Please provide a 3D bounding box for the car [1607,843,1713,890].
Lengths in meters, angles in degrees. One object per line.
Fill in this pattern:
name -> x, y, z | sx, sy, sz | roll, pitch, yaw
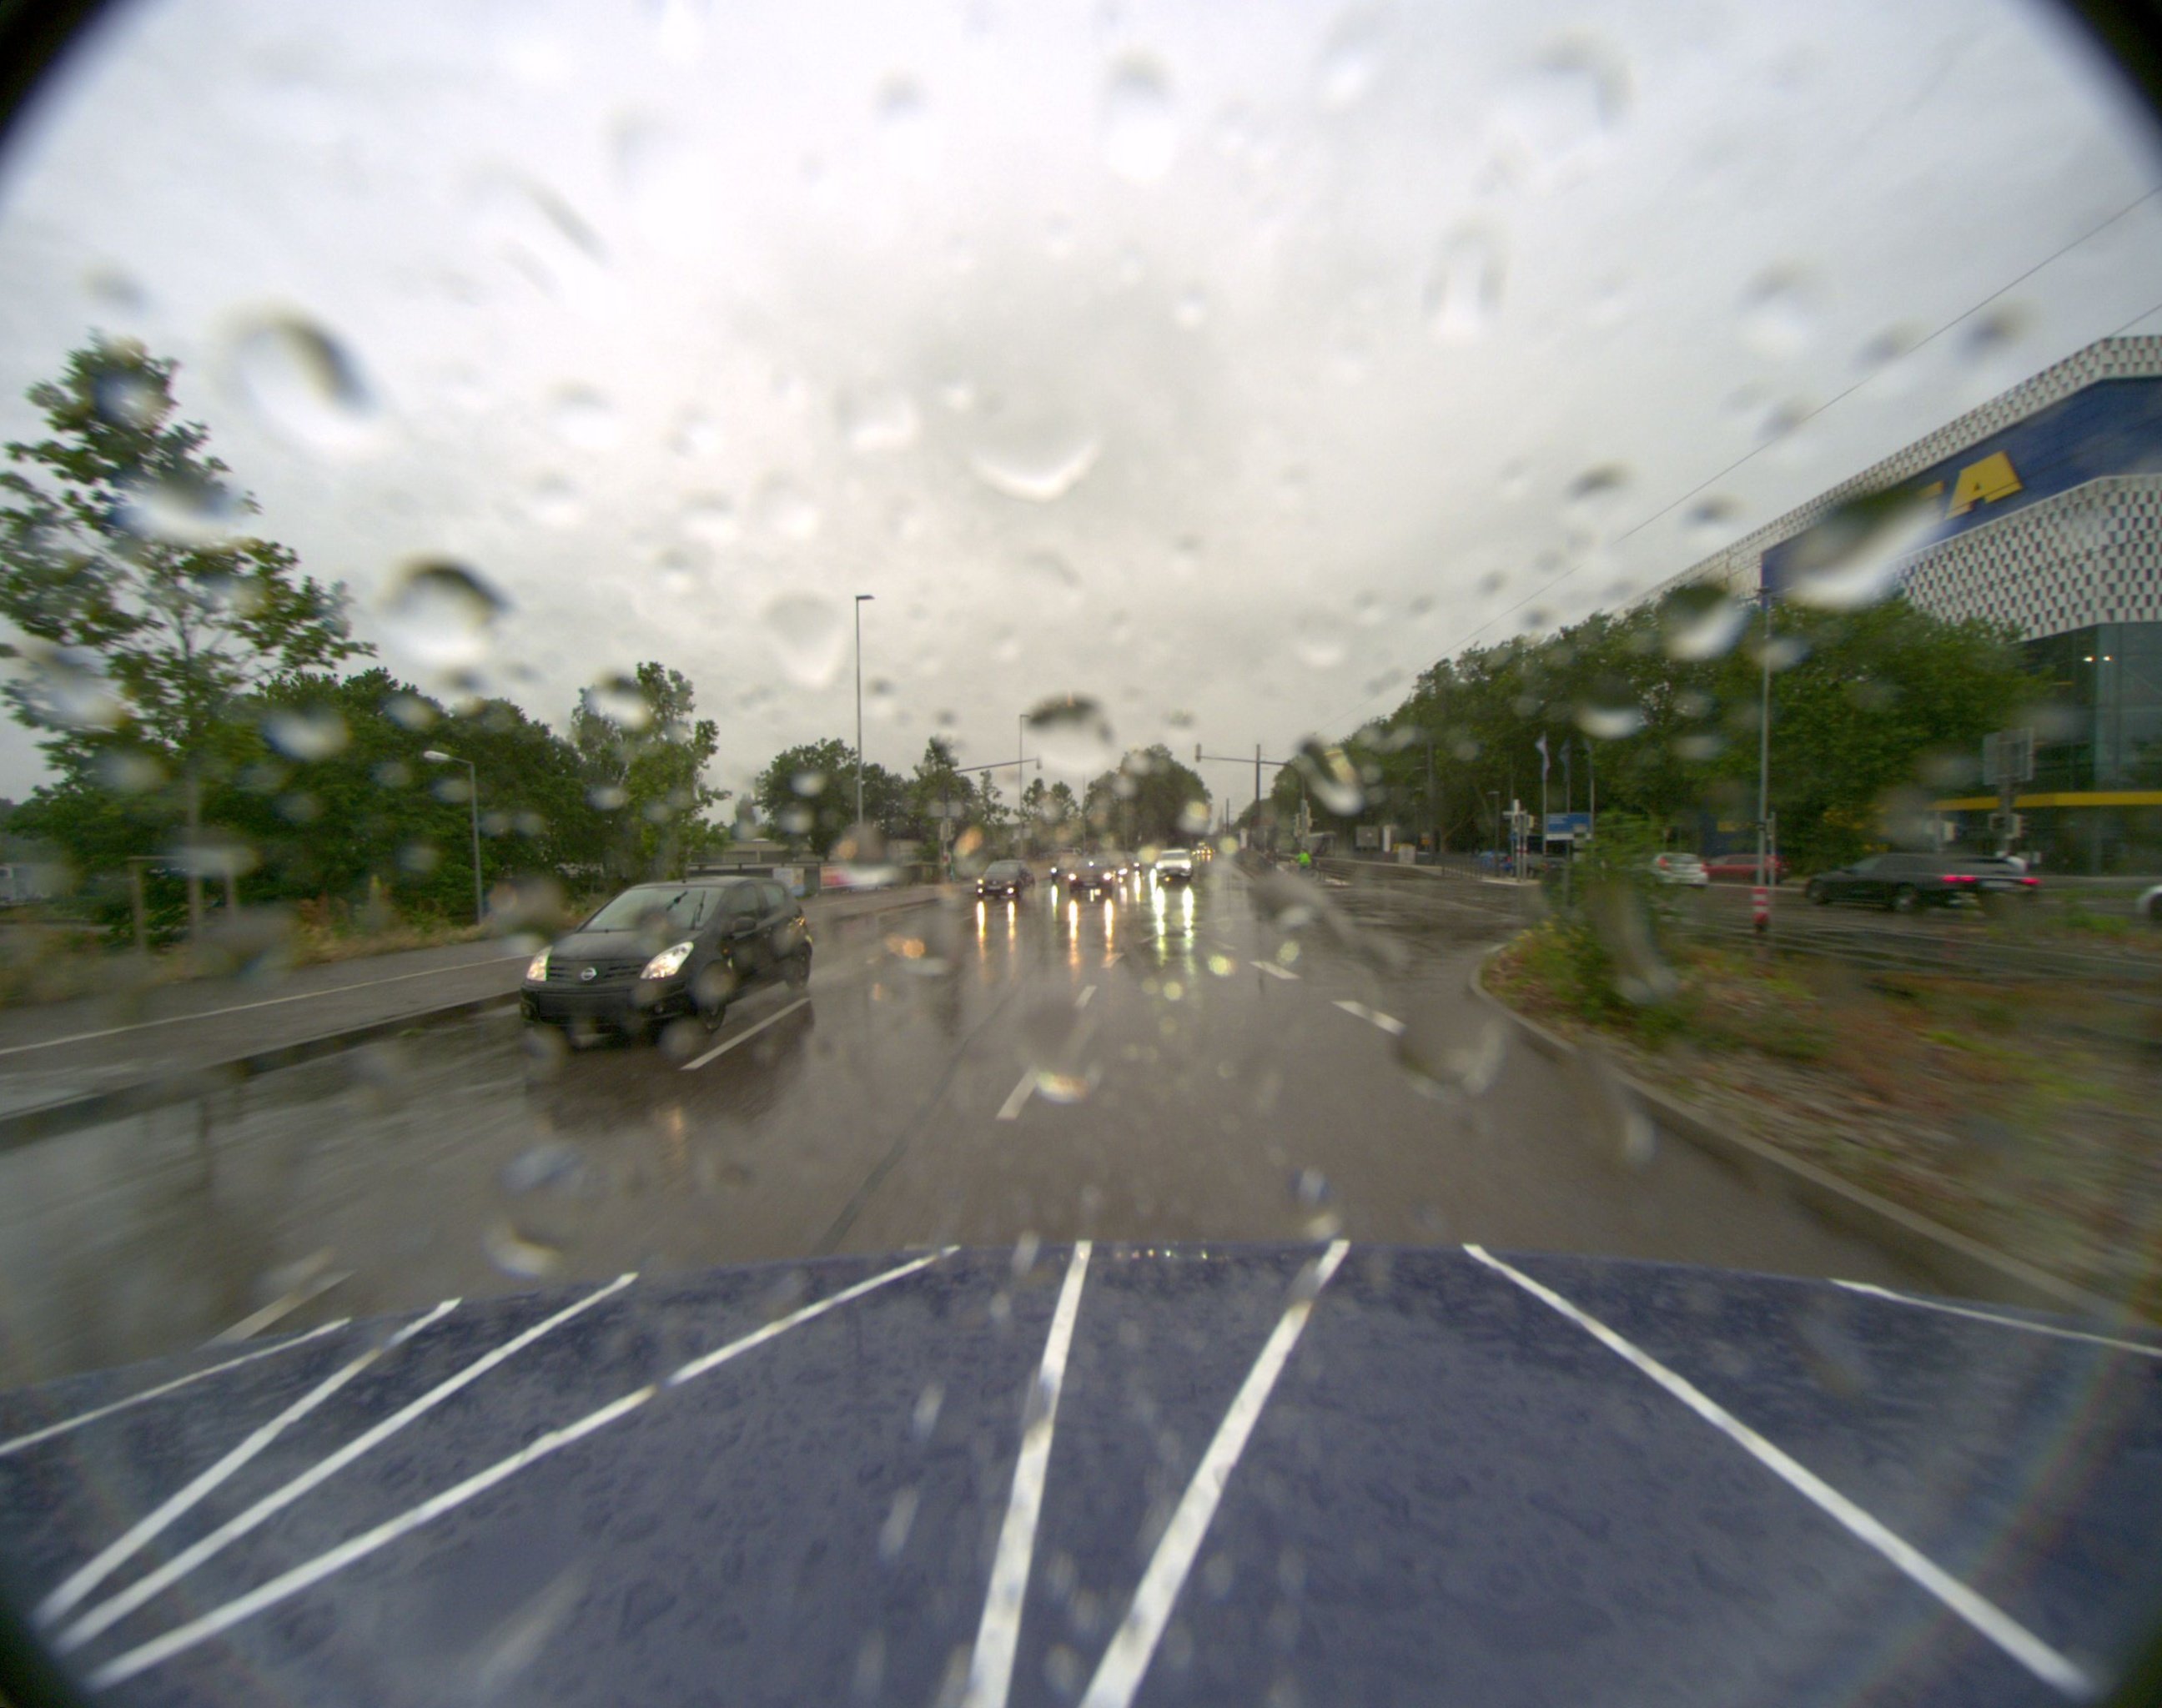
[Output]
car -> 23.451, 0.478, 30.970 | 1.715, 1.698, 4.433 | -2, 0, 13

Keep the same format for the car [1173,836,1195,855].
car -> 9.060, -0.699, 66.659 | 1.714, 1.515, 4.046 | -2, 0, 9

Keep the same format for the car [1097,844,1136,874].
car -> 2.051, 0.279, 43.131 | 1.714, 1.515, 4.046 | -2, 0, 9

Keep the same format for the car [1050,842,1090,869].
car -> -0.593, 0.092, 45.291 | 1.714, 1.515, 4.046 | -2, 0, 9

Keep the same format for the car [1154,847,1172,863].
car -> 8.729, 0.122, 80.743 | 1.714, 1.515, 4.046 | -2, 0, 9

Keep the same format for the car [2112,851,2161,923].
car -> 22.519, 0.652, 13.757 | 1.815, 1.428, 4.716 | -2, 0, 11

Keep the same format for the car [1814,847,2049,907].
car -> 20.448, 0.514, 18.565 | 1.715, 1.242, 4.051 | -2, 0, 12

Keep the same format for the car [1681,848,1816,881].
car -> 35.849, 0.605, 41.015 | 2.003, 1.558, 5.050 | -2, -1, -27

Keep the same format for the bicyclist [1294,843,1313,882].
bicyclist -> 9.986, 0.390, 34.148 | 0.618, 1.721, 0.793 | -3, 0, 7

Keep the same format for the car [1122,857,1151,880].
car -> 3.972, 0.994, 53.889 | 1.714, 1.515, 4.046 | -2, 0, 9

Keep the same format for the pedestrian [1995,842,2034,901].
pedestrian -> 32.217, 0.609, 26.237 | 0.693, 2.002, 0.629 | -3, 0, 40

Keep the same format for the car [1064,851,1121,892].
car -> 0.569, 0.692, 32.229 | 1.875, 1.573, 4.045 | -2, 0, 8

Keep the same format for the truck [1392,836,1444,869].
truck -> 34.937, -0.259, 79.102 | 2.745, 2.833, 9.096 | -2, 3, 10

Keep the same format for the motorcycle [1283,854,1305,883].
motorcycle -> 9.266, 0.623, 33.023 | 0.527, 1.214, 1.404 | -3, 0, 29

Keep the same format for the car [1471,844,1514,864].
car -> 30.049, 0.000, 55.570 | 1.584, 1.406, 3.918 | -2, 0, 11

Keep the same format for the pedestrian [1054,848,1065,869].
pedestrian -> -1.652, 0.353, 57.846 | 0.733, 1.602, 0.618 | 0, 2, 8

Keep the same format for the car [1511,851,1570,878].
car -> 25.461, 0.540, 42.226 | 1.584, 1.358, 4.205 | -2, 0, 14

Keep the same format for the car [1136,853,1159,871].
car -> 5.951, 0.693, 67.636 | 1.714, 1.515, 4.046 | -2, 0, 9

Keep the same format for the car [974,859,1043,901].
car -> -2.772, 0.979, 29.928 | 1.714, 1.476, 4.046 | -2, 0, 9

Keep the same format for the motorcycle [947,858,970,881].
motorcycle -> -6.628, 0.846, 41.214 | 0.632, 1.211, 1.450 | 1, 1, 20

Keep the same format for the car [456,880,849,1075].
car -> -4.177, 1.093, 8.328 | 1.776, 1.453, 4.093 | -2, 0, 3

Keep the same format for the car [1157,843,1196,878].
car -> 5.391, 0.297, 42.319 | 1.992, 1.778, 4.555 | -2, 0, 9

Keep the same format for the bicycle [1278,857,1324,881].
bicycle -> 9.894, 0.687, 34.228 | 1.869, 1.002, 0.670 | -3, 0, 7
